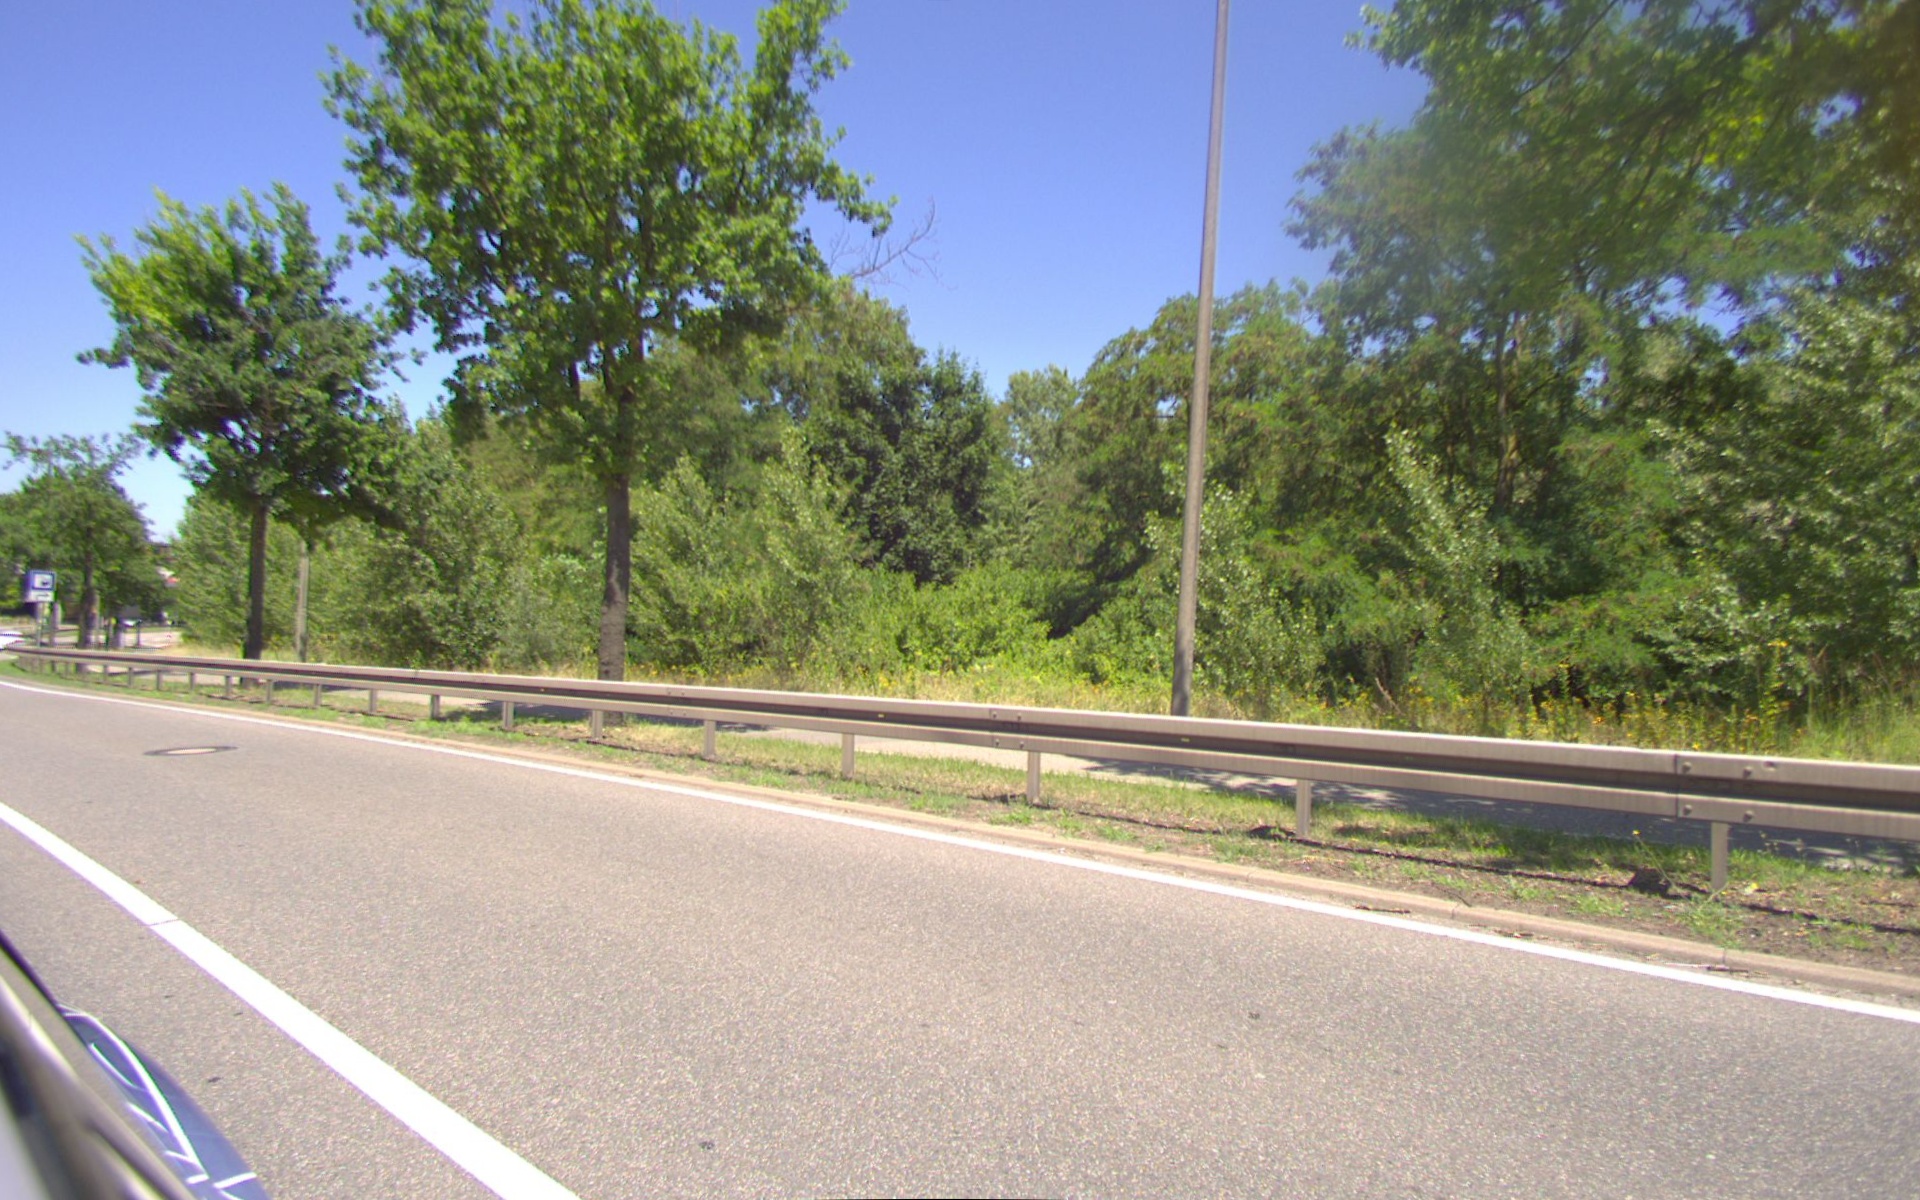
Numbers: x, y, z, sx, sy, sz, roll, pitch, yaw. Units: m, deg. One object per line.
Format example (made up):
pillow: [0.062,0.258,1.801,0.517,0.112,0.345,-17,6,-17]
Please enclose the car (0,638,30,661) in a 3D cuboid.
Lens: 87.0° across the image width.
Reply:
car: [-66.430,3.447,70.580,1.752,1.454,4.011,-1,0,-34]
